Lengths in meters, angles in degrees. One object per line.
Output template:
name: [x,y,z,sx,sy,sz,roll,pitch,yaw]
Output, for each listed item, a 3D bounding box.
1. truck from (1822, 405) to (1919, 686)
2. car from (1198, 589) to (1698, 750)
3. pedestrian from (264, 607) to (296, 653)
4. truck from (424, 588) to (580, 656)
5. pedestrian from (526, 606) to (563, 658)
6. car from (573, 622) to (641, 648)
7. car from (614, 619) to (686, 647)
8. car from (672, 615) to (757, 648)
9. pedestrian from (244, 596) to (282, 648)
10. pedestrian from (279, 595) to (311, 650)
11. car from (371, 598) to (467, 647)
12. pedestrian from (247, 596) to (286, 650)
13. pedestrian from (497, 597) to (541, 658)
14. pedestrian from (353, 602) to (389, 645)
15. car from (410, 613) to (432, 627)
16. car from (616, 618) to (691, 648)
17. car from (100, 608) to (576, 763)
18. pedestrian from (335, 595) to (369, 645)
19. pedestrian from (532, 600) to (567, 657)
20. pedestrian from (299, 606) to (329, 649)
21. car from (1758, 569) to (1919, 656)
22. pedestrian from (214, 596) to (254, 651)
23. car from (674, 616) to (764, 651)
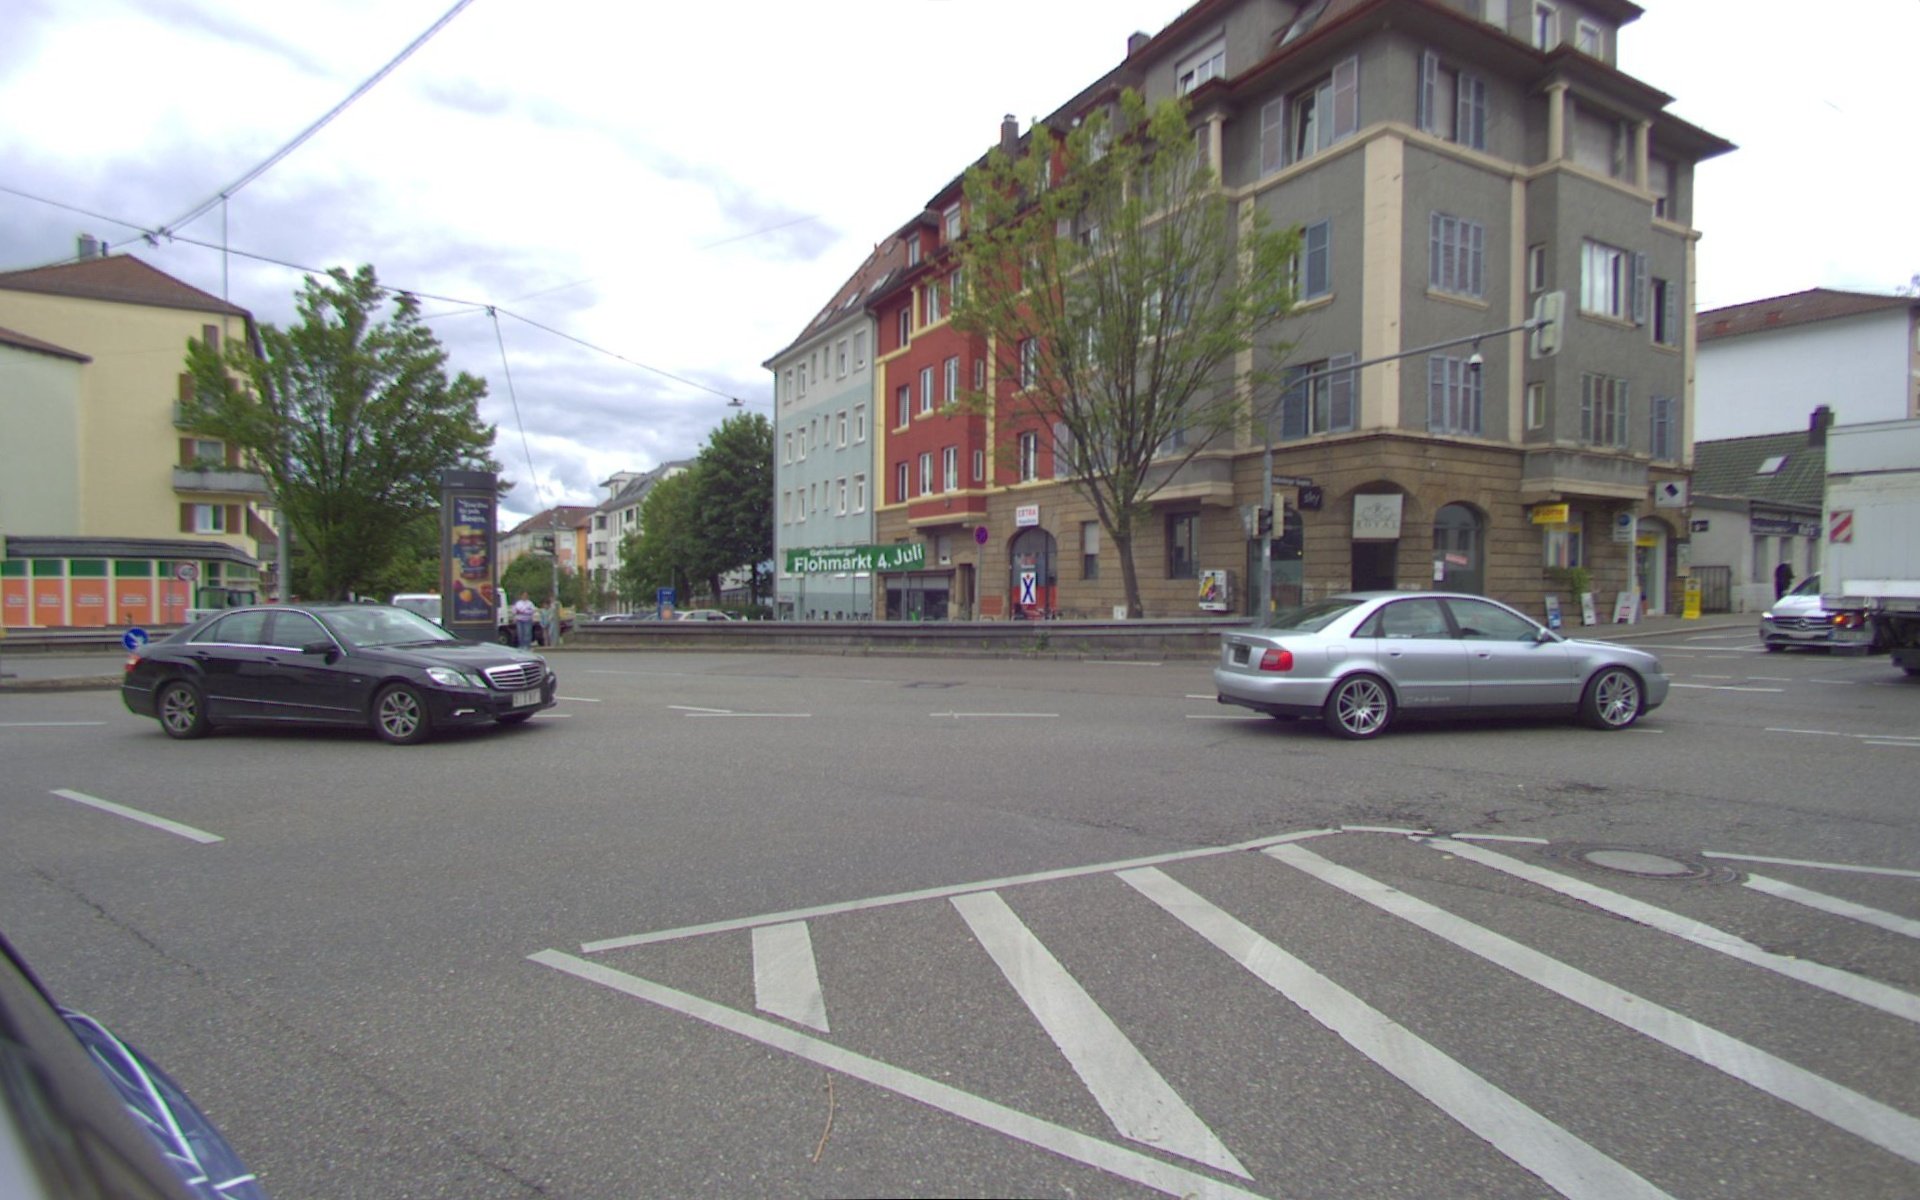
truck: [16.248,-0.773,14.402,8.367,3.602,2.719,-1,1,-24]
car: [4.740,0.620,10.178,4.203,1.352,1.709,-2,1,-4]
pedestrian: [-24.889,1.073,37.055,0.853,1.631,0.921,-1,1,-26]
truck: [-20.061,1.023,44.780,2.749,2.744,6.419,-2,-2,17]
pedestrian: [-11.003,0.839,26.807,0.623,1.351,0.660,-1,1,18]
car: [-23.417,2.310,67.307,3.876,1.611,1.894,-1,1,-1]
car: [-19.155,2.011,62.610,3.876,1.611,1.894,-1,1,-1]
car: [-12.635,1.607,52.201,3.885,1.611,1.890,-1,1,7]
pedestrian: [-22.169,0.692,32.198,0.644,1.631,0.769,-1,1,13]
pedestrian: [-20.281,0.682,30.871,0.550,1.631,0.603,-1,1,16]
car: [-19.323,0.756,36.348,2.175,1.583,4.491,-1,1,-17]
pedestrian: [-21.225,0.694,30.975,0.760,1.631,0.651,-1,0,-7]
pedestrian: [-11.796,0.725,27.067,0.796,1.595,0.702,-1,1,17]
pedestrian: [-27.863,1.103,47.875,1.261,1.973,0.920,-1,1,27]
car: [-66.839,2.448,125.519,1.860,1.611,3.946,-1,1,-21]
car: [-18.094,1.931,59.939,3.876,1.611,1.894,-1,1,-1]
car: [-6.824,0.841,11.179,4.697,1.430,1.832,-1,1,17]
pedestrian: [-20.035,0.648,33.357,0.759,1.631,0.652,-1,1,-12]
pedestrian: [-10.656,0.736,26.279,0.596,1.443,0.601,-1,1,18]
pedestrian: [-25.162,1.048,39.410,0.853,1.631,0.921,-1,1,-26]
car: [16.887,0.179,18.900,3.984,1.484,1.657,-1,1,-28]
pedestrian: [-22.186,0.708,30.934,0.642,1.631,0.770,-1,1,8]
car: [-11.742,1.629,49.417,3.885,1.611,1.890,-1,1,7]
